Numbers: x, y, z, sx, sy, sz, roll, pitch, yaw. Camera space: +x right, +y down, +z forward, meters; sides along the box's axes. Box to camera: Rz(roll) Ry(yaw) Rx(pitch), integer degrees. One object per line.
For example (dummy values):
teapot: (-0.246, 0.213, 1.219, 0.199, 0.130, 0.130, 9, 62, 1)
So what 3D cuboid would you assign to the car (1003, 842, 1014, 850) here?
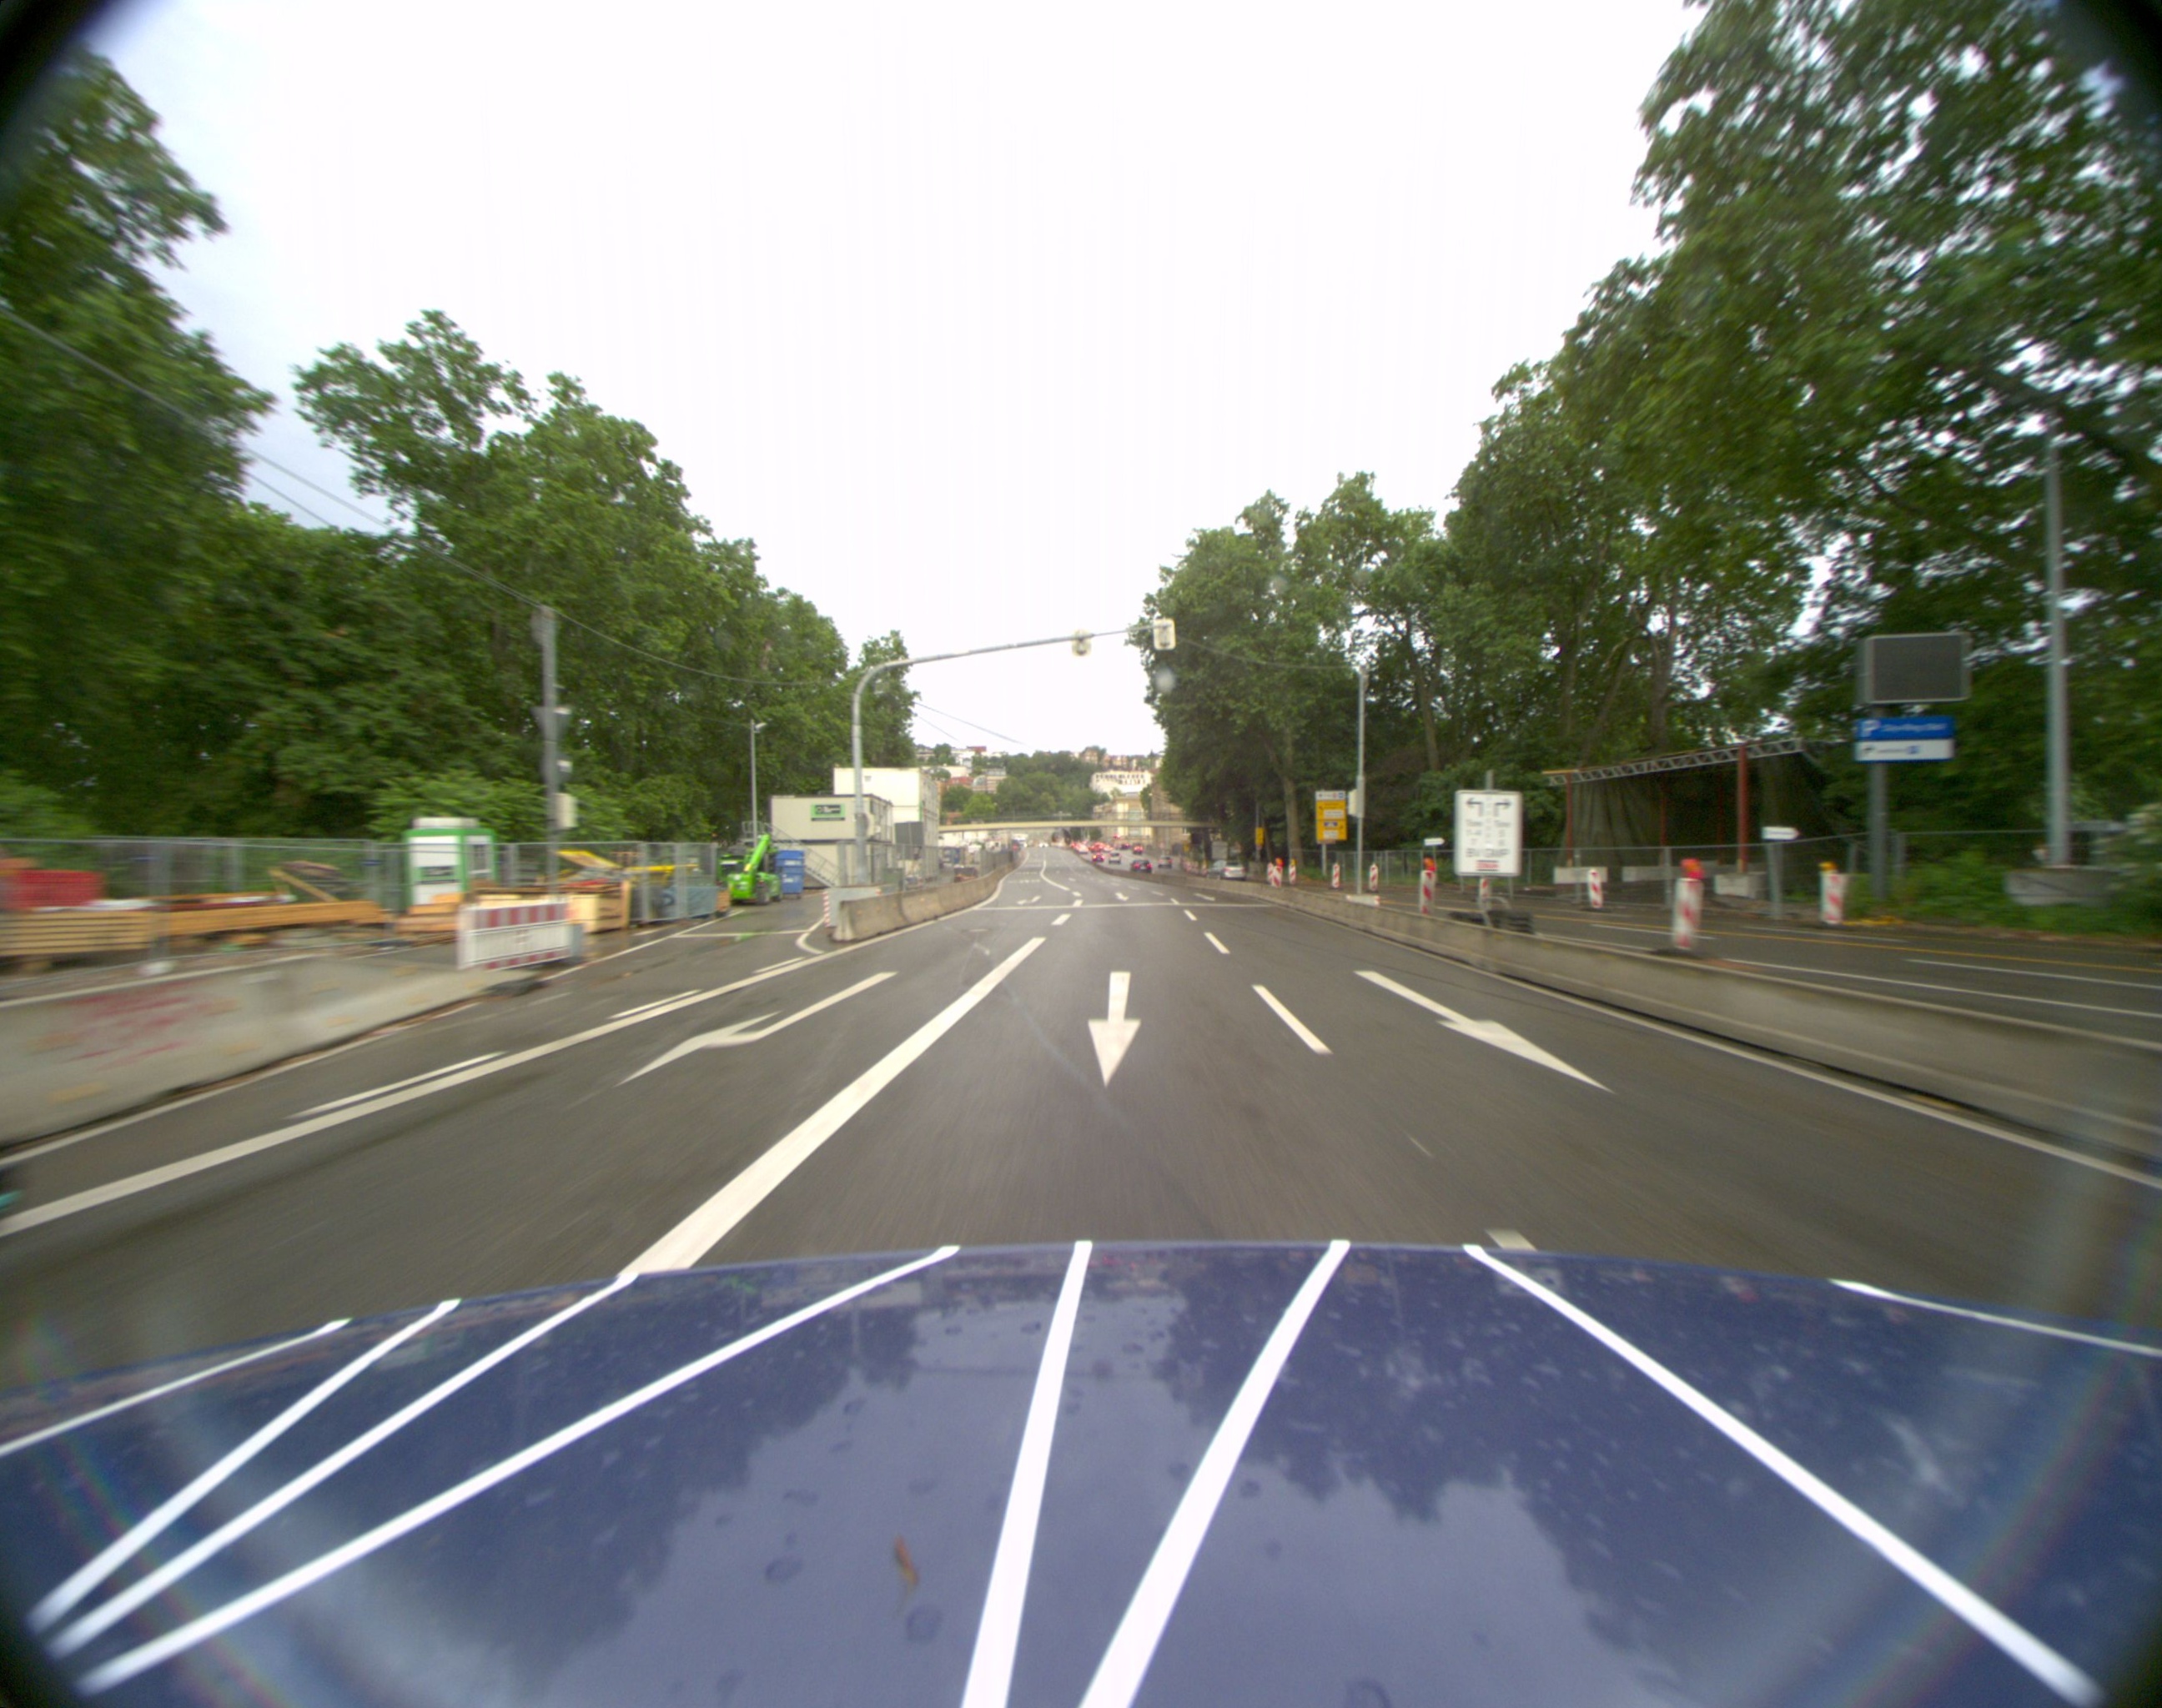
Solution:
car: (-14.980, -1.603, 157.171, 1.837, 1.433, 4.411, -2, 3, 1)

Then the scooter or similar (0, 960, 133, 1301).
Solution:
scooter or similar: (-4.633, 1.159, 2.668, 0.599, 1.311, 1.666, -1, 1, -7)

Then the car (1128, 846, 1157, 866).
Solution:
car: (5.682, 0.157, 70.825, 1.999, 1.532, 4.576, 1, 3, -4)

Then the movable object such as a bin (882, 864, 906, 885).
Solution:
movable object such as a bin: (-11.781, 1.275, 47.864, 1.250, 1.230, 1.238, 1, 3, -4)

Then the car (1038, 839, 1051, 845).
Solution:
car: (-10.439, -3.414, 215.450, 2.003, 1.562, 3.988, -1, 3, -33)

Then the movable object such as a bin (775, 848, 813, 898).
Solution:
movable object such as a bin: (-12.926, 0.839, 34.204, 1.463, 2.190, 1.262, -1, 0, -27)

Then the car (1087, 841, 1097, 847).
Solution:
car: (2.652, -2.541, 187.006, 2.000, 1.375, 4.207, 1, 3, -7)

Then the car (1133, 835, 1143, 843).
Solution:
car: (12.354, -3.272, 164.684, 2.035, 1.643, 4.319, 0, 0, 2)

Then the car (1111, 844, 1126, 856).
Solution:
car: (5.696, -0.635, 115.630, 2.036, 1.644, 4.910, 1, 1, 1)

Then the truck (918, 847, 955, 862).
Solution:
truck: (-20.921, 0.118, 109.882, 5.171, 2.003, 2.406, -1, 3, -10)

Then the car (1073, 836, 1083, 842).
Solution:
car: (-0.713, -3.773, 190.441, 2.000, 1.559, 5.376, 1, 3, -6)

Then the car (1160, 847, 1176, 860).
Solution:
car: (11.317, -0.084, 99.372, 1.873, 1.532, 4.090, 1, 3, 4)

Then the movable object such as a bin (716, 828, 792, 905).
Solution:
movable object such as a bin: (-12.840, 0.496, 30.083, 1.813, 2.793, 3.863, -1, -1, -9)

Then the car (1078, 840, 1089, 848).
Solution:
car: (0.556, -2.085, 162.944, 1.899, 1.559, 4.894, 1, 3, -5)

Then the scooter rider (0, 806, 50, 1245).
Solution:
scooter rider: (-4.637, 0.700, 2.679, 0.599, 1.775, 0.996, -1, 1, -7)

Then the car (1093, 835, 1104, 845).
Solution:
car: (3.949, -3.197, 171.395, 2.036, 1.926, 5.040, 1, 3, -4)

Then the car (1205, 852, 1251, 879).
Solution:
car: (9.668, 0.734, 50.454, 1.999, 1.532, 4.442, 1, 3, -2)

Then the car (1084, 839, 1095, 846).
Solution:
car: (2.149, -2.955, 193.836, 2.000, 1.547, 4.206, 1, 3, -8)

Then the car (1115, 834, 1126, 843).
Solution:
car: (10.165, -4.030, 195.542, 2.000, 2.003, 3.994, 1, 3, -11)

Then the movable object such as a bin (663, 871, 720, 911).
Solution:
movable object such as a bin: (-13.317, 1.255, 26.024, 1.177, 1.336, 1.267, -1, -1, 16)

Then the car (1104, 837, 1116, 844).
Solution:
car: (6.669, -3.185, 175.073, 2.000, 1.375, 4.206, 1, 3, -8)
